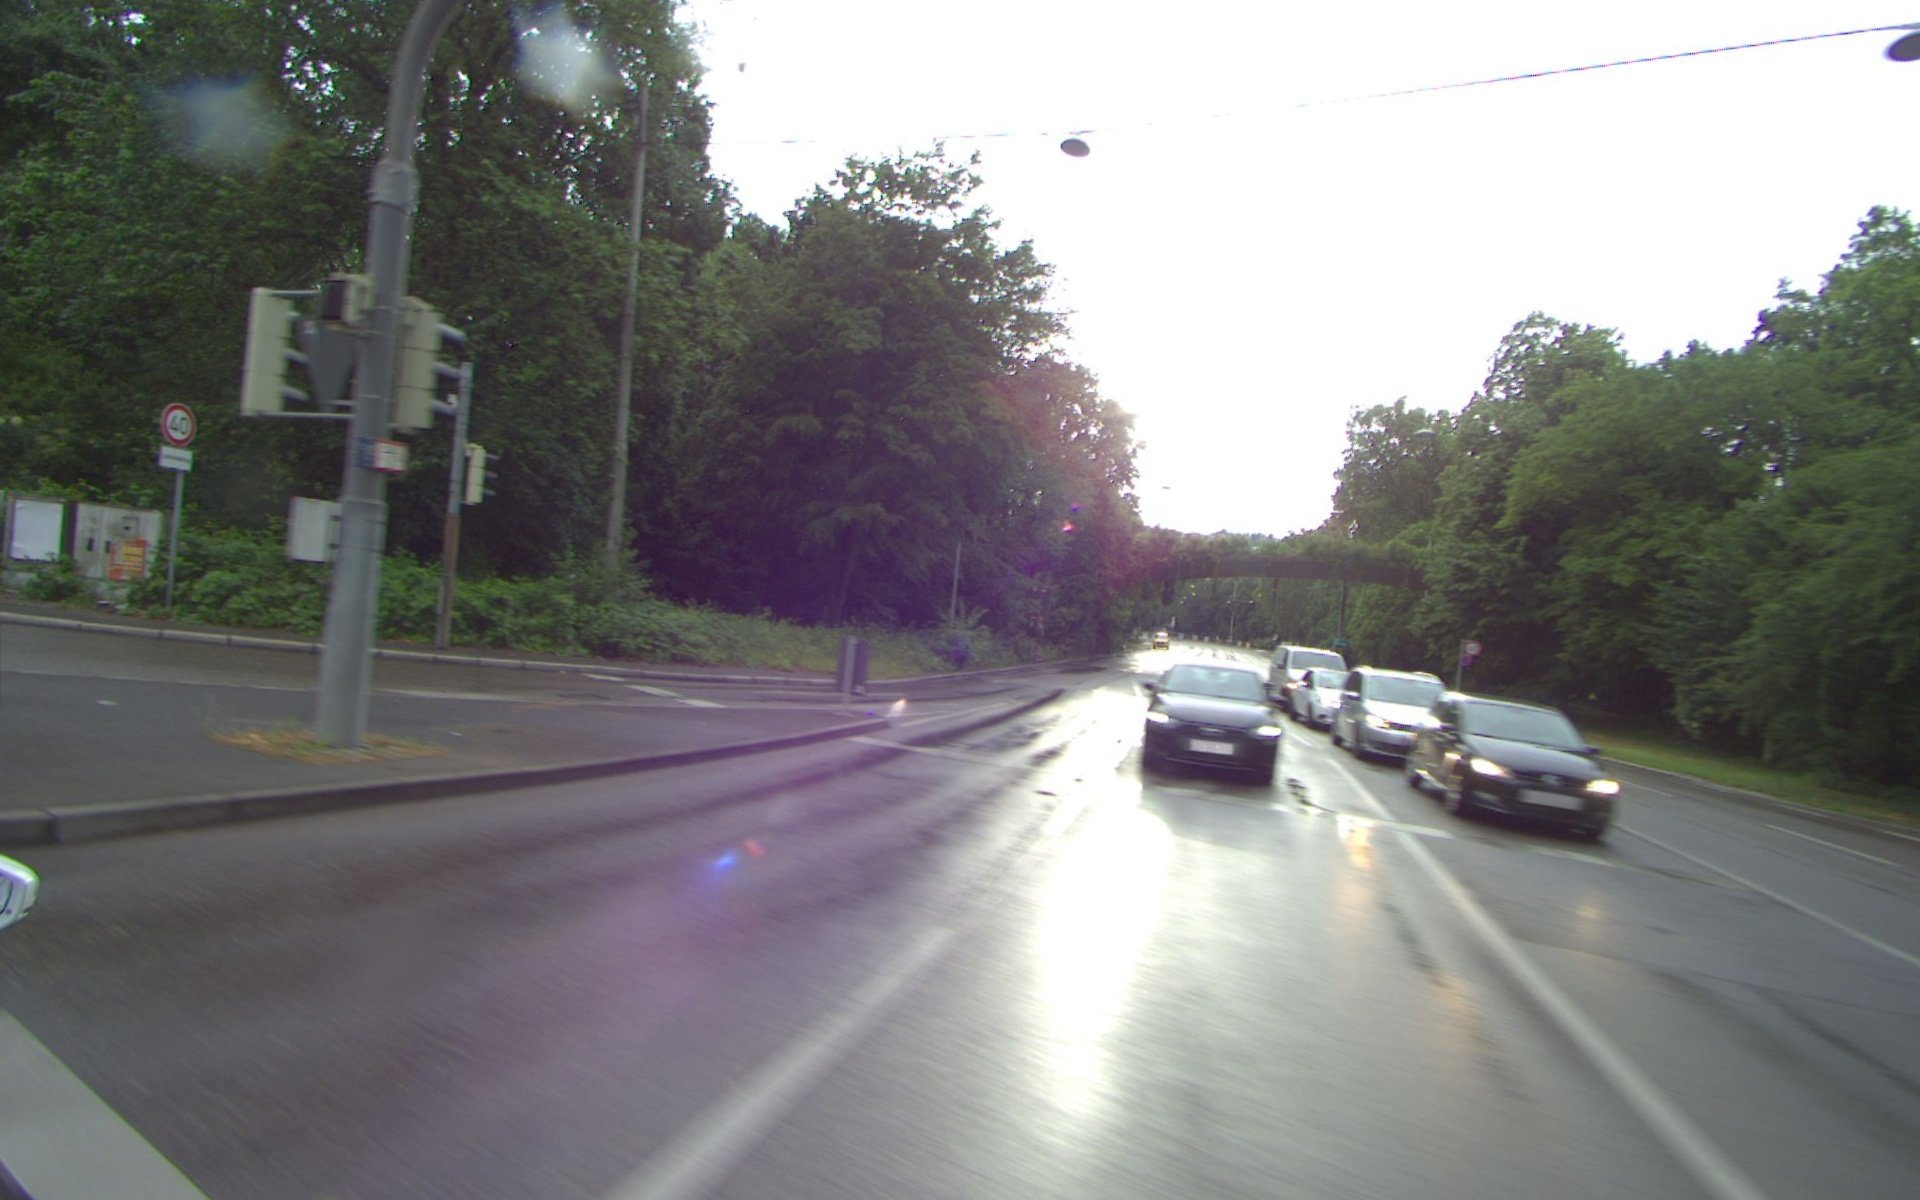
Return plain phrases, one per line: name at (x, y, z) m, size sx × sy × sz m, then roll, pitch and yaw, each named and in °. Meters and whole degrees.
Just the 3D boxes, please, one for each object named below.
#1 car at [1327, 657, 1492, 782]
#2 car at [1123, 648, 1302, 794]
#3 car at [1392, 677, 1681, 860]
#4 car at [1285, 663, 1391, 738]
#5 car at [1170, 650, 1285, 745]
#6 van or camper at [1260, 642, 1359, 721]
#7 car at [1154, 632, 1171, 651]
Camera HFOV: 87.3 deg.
car at (7.993, 2.038, 18.317) m, size 1.871 × 1.700 × 4.213 m, roll 7°, pitch -1°, yaw 14°
car at (3.528, 1.529, 14.031) m, size 1.913 × 1.458 × 4.215 m, roll 7°, pitch -1°, yaw 15°
car at (6.877, 1.901, 12.560) m, size 1.759 × 1.478 × 4.203 m, roll 8°, pitch 0°, yaw 12°
car at (9.274, 2.423, 24.962) m, size 1.626 × 1.478 × 3.870 m, roll 7°, pitch -2°, yaw 10°
car at (5.248, 1.832, 19.814) m, size 1.795 × 1.419 × 4.451 m, roll 7°, pitch -1°, yaw 15°
van or camper at (10.667, 2.453, 31.068) m, size 1.871 × 1.969 × 4.871 m, roll 8°, pitch -2°, yaw 10°
car at (24.873, 5.095, 123.439) m, size 1.849 × 1.997 × 3.892 m, roll 7°, pitch -3°, yaw 13°
